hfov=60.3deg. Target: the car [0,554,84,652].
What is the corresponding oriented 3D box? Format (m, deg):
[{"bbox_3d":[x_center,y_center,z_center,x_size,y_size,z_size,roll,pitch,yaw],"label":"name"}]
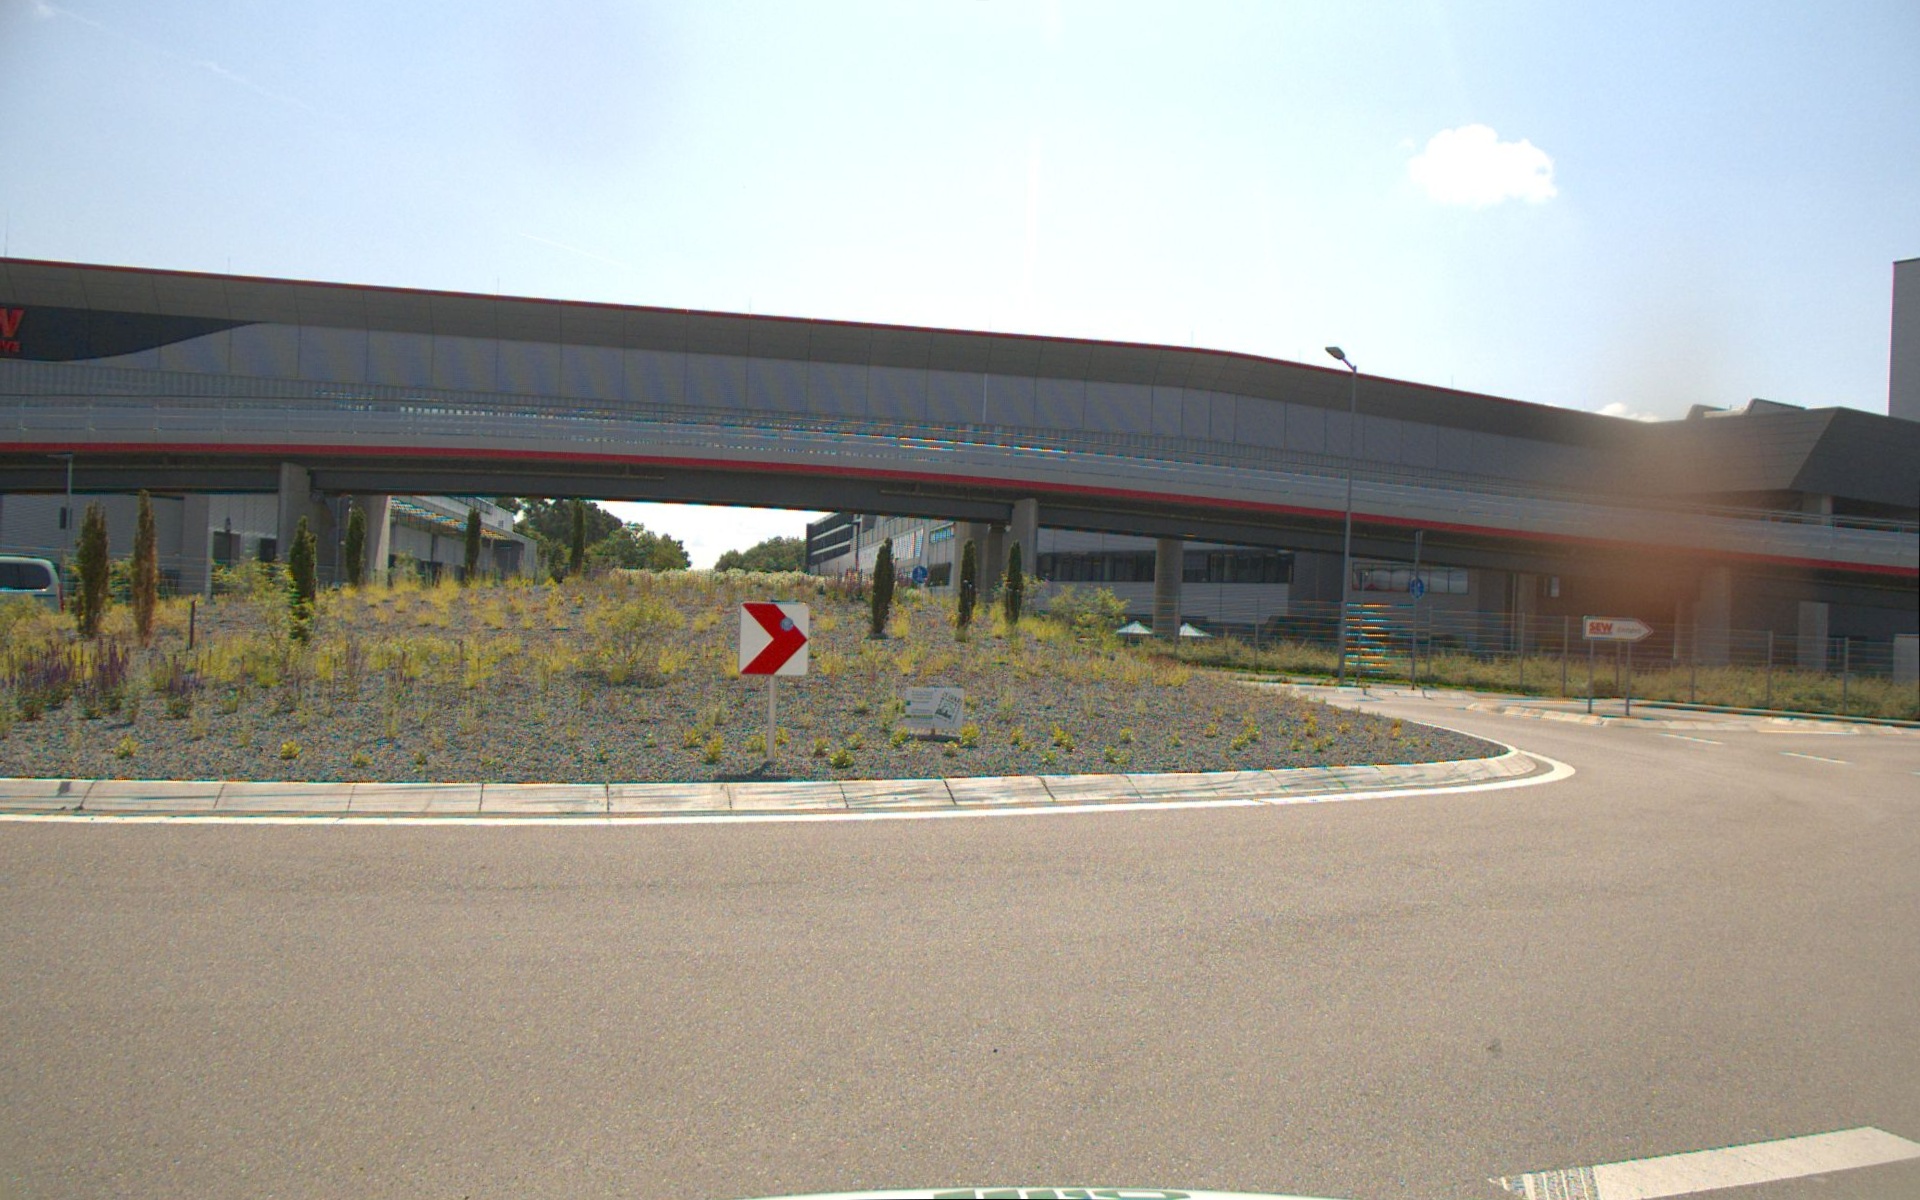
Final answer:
[{"bbox_3d":[-18.794,0.015,30.480,1.952,1.810,4.562,2,0,19],"label":"car"}]
